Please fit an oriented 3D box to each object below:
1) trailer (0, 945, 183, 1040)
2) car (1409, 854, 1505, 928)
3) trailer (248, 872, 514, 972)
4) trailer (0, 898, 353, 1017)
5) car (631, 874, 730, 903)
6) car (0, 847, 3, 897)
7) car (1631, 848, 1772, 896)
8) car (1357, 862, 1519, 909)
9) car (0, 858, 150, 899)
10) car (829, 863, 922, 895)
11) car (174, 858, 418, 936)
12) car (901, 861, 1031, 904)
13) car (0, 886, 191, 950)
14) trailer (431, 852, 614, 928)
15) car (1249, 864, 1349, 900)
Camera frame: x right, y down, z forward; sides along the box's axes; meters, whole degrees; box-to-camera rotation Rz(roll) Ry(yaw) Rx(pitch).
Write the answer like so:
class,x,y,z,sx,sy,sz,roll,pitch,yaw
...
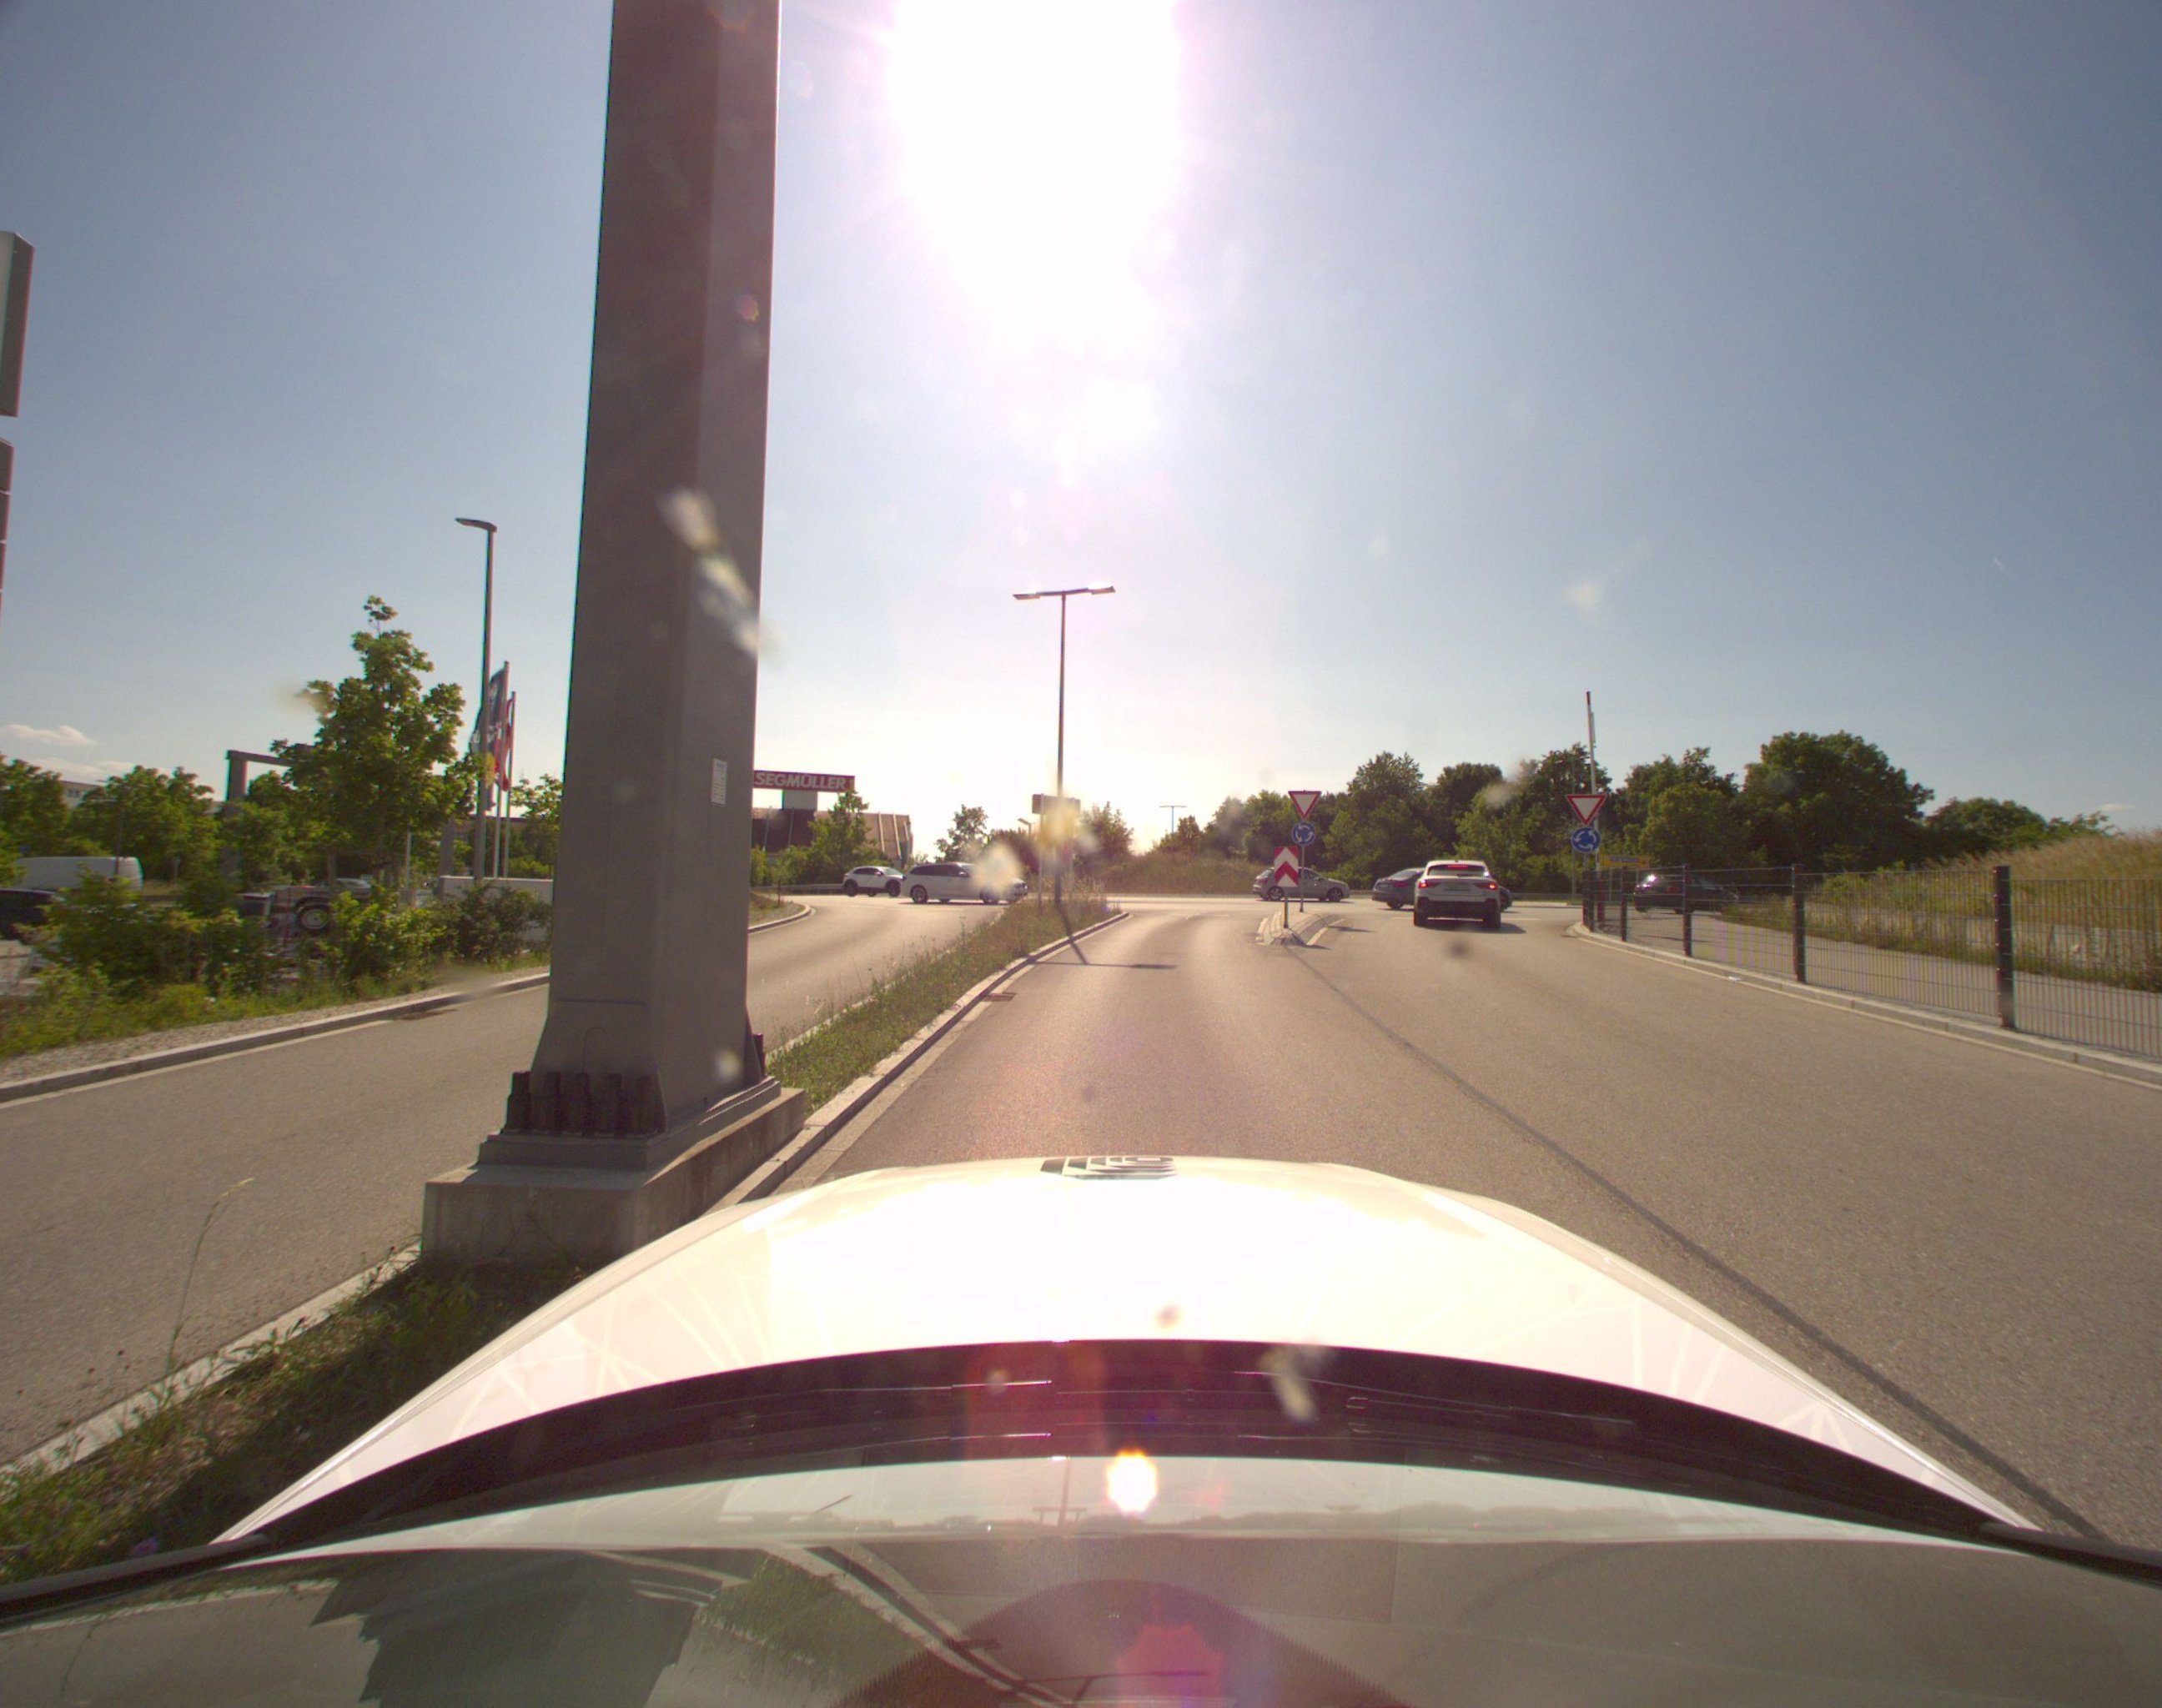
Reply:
class,x,y,z,sx,sy,sz,roll,pitch,yaw
trailer,-13.213,1.650,9.717,2.844,0.882,1.849,2,-1,-28
car,8.998,0.843,19.807,1.825,1.596,4.346,0,-1,21
trailer,-13.762,1.292,16.349,3.707,1.772,1.790,2,-1,-30
trailer,-13.459,1.502,11.990,3.707,1.452,1.692,5,-3,-30
car,-21.490,1.859,43.844,4.394,1.405,1.789,2,-1,-4
car,-17.074,0.579,9.862,1.789,1.484,4.503,1,-1,5
car,23.254,0.674,30.615,3.935,1.618,1.819,1,-1,1
car,12.120,1.076,27.729,4.862,1.452,1.991,2,-1,-13
car,-60.738,1.476,48.900,6.257,2.234,2.031,2,-1,-12
car,-10.318,1.258,40.910,4.237,1.530,1.801,0,-2,21
car,-17.558,0.910,18.502,1.731,1.552,3.746,1,-1,2
car,-4.065,0.992,28.722,4.290,1.352,1.581,1,-1,22
car,-26.142,1.628,21.012,1.802,1.464,4.024,1,-3,35
trailer,-14.076,0.846,20.795,3.708,1.772,1.790,0,0,-30
car,9.016,1.148,33.817,3.743,1.352,1.532,1,-1,1
